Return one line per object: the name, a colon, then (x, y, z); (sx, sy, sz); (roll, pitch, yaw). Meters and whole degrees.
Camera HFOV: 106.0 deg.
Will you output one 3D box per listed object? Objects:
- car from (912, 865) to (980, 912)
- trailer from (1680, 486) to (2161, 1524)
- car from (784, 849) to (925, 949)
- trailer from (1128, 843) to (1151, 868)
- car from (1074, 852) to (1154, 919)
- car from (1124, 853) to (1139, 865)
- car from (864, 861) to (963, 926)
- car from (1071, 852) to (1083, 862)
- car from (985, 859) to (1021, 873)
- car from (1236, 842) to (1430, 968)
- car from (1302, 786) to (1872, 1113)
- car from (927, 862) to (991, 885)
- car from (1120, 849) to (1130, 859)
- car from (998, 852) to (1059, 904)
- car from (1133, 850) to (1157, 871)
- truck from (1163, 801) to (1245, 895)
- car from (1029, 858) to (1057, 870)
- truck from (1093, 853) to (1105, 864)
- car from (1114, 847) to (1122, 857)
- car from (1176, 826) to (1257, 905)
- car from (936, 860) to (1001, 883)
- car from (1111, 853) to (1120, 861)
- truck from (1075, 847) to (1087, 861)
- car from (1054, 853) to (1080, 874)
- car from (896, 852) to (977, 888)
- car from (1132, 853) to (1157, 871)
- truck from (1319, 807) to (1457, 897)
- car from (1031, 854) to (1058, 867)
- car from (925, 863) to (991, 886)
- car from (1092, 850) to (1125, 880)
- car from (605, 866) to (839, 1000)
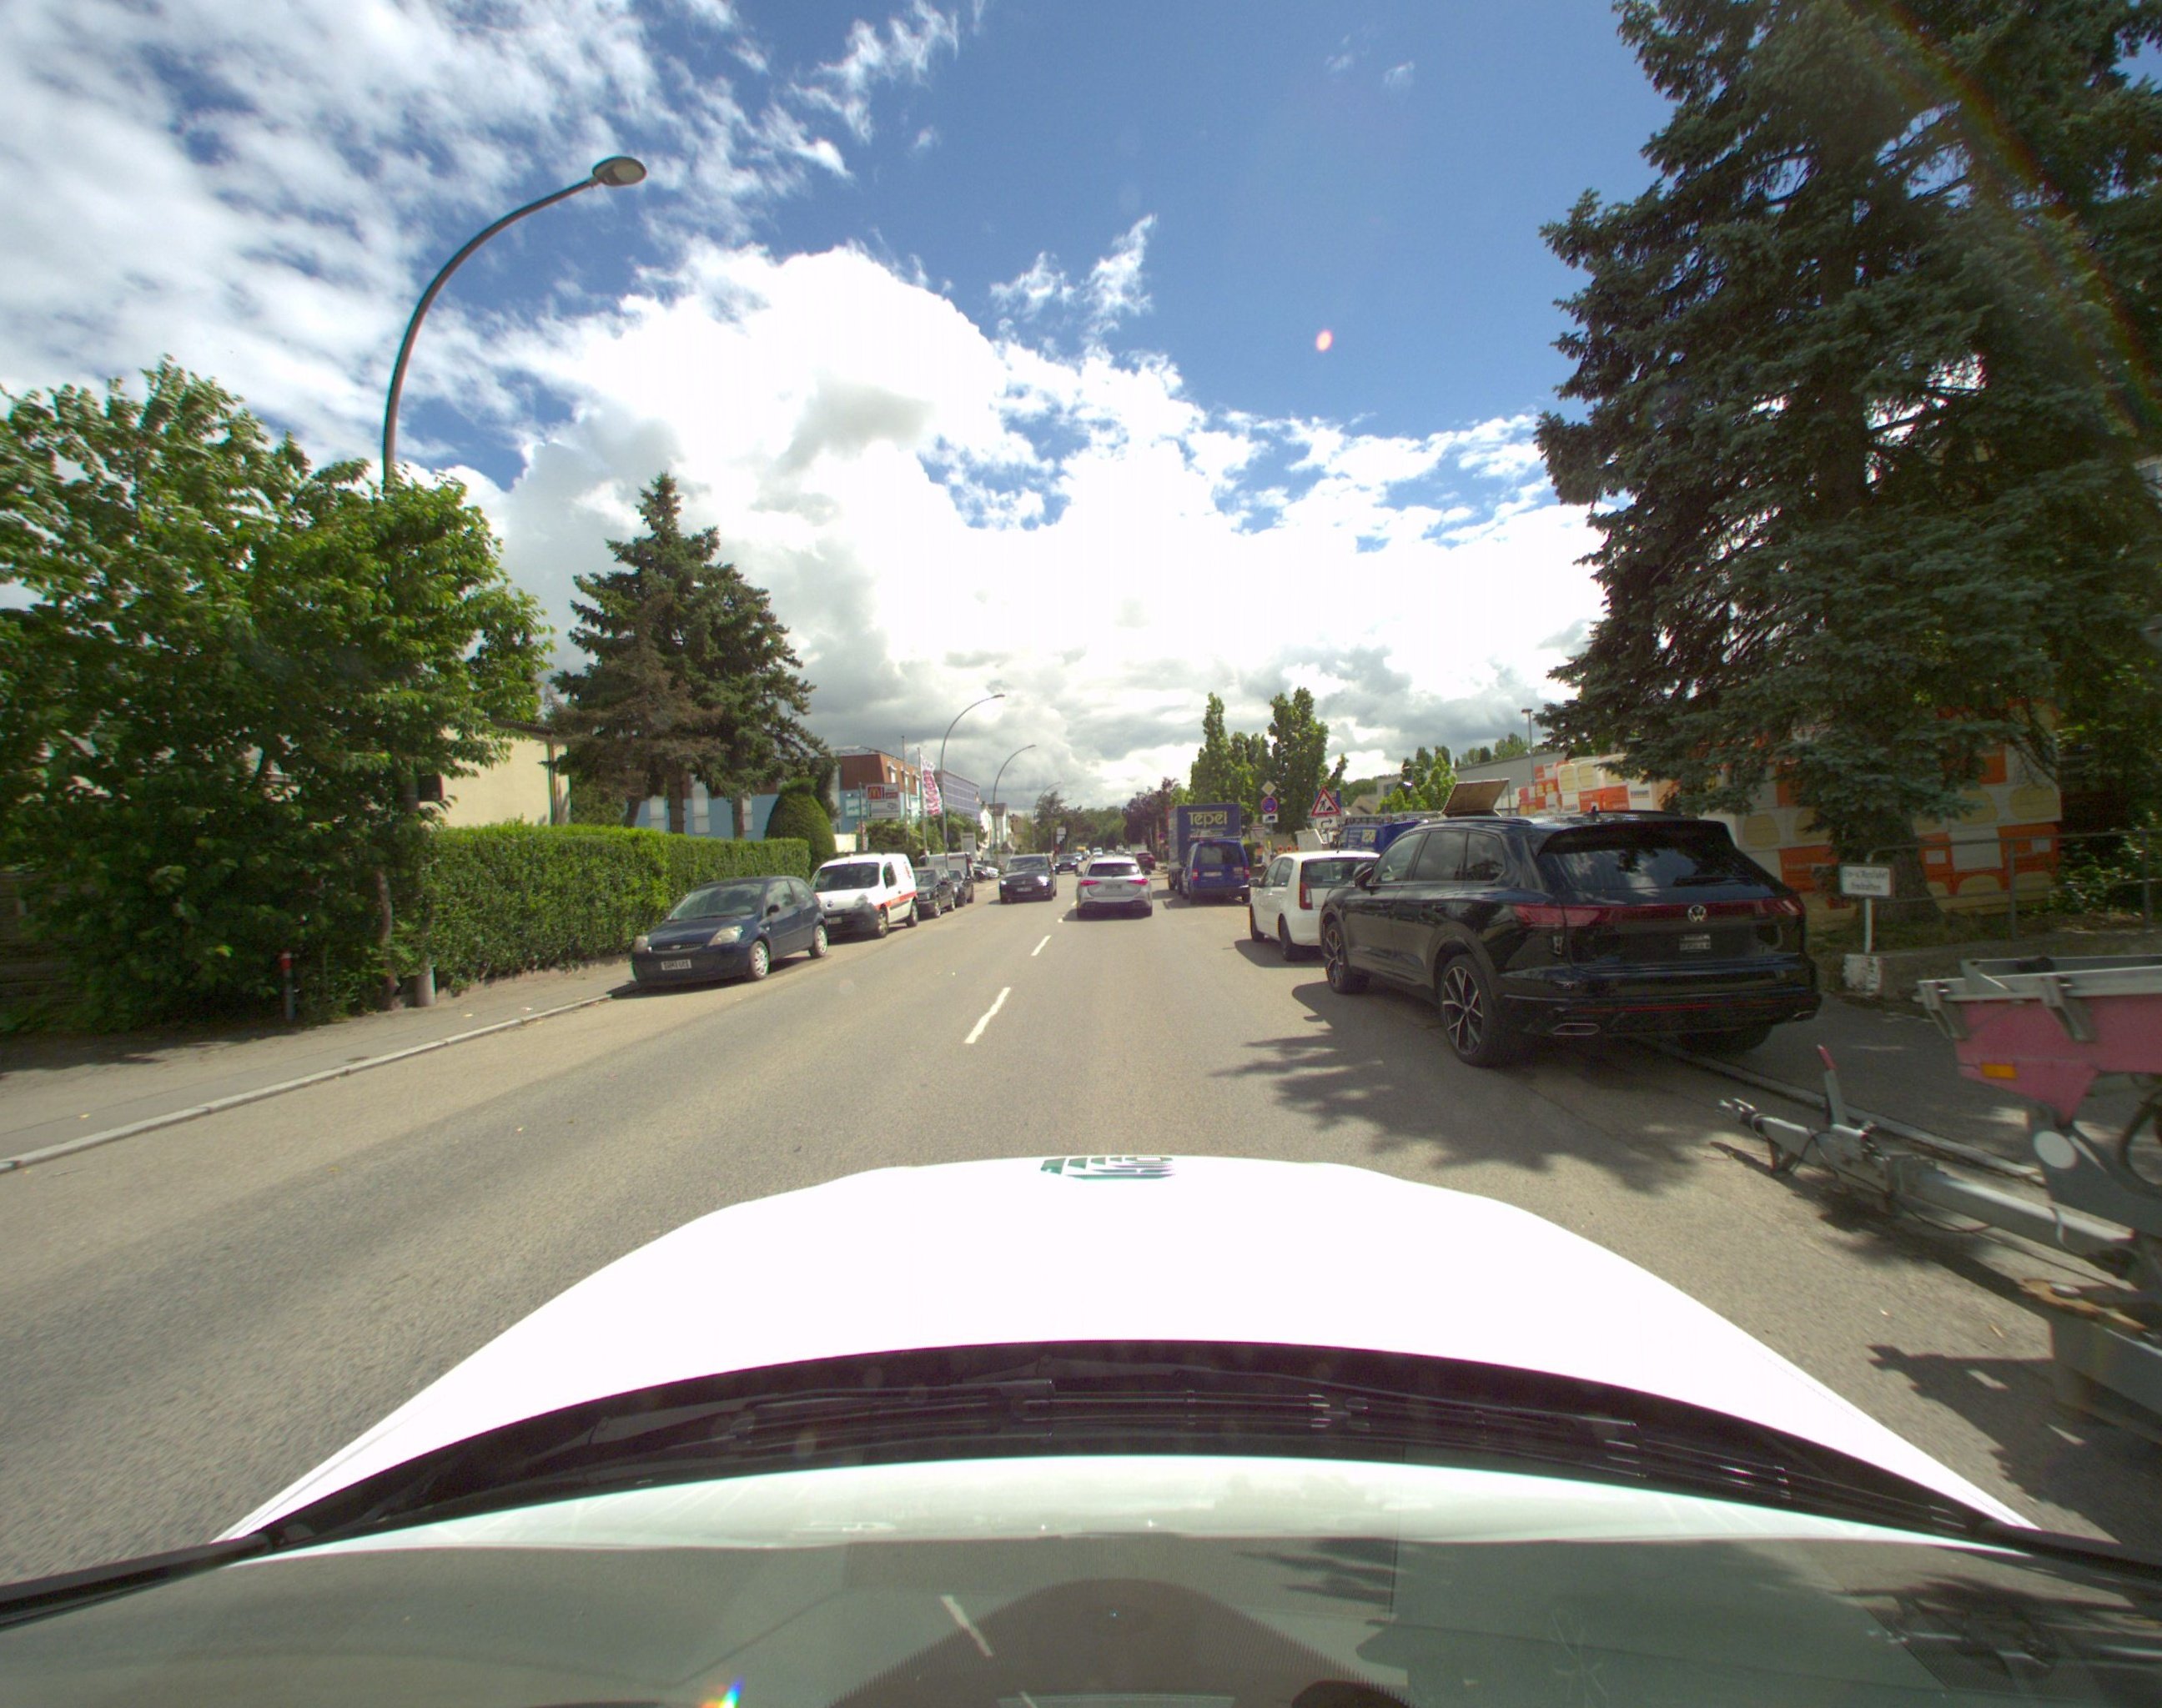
car: (-4.686, 1.157, 28.872); (1.626, 1.303, 4.116); (-6, 0, 0)
trailer: (3.076, 0.295, 0.915); (1.766, 2.144, 4.115); (-3, 0, 1)
car: (-4.926, 0.880, 18.385); (1.738, 1.838, 4.356); (-6, 0, 1)
trailer: (5.833, 0.152, 81.883); (1.935, 2.294, 4.446); (-3, 0, 1)
car: (0.768, 0.713, 20.764); (1.779, 1.484, 4.316); (-1, 0, 0)
car: (7.286, 0.700, 117.776); (1.786, 1.450, 4.362); (-4, 0, 0)
car: (-4.738, 1.047, 23.721); (1.738, 1.472, 4.644); (-6, 0, 1)
car: (-0.643, 0.442, 141.357); (1.785, 1.603, 4.365); (-4, 0, 2)
car: (-9.100, 1.401, 95.349); (4.139, 1.492, 1.825); (0, 0, -2)
car: (3.608, 0.641, 12.431); (1.766, 1.508, 4.002); (-3, 0, 2)
car: (3.486, 0.520, 6.930); (1.867, 1.727, 4.712); (-3, 0, 0)
car: (-8.405, 1.322, 56.346); (3.969, 1.355, 1.874); (-3, 0, 4)
car: (9.500, 0.036, 176.531); (2.136, 1.984, 5.264); (-3, 0, 2)
car: (-1.808, 0.782, 29.183); (1.737, 1.627, 4.357); (-2, 0, 1)
car: (5.526, 0.533, 70.540); (1.933, 1.571, 4.450); (-3, 0, 4)
truck: (4.422, -0.212, 30.245); (2.311, 3.097, 6.046); (-1, 0, 2)
car: (-6.044, 1.619, 131.005); (4.263, 1.567, 1.992); (-3, -3, 2)
truck: (4.003, 0.978, 177.929); (2.309, 2.178, 6.456); (-4, 0, 4)
car: (9.668, -0.515, 214.201); (1.779, 2.518, 4.316); (-1, -1, 0)
car: (4.011, 0.304, 24.786); (1.866, 2.169, 4.467); (-1, 0, 2)
car: (-8.114, 1.264, 58.985); (4.358, 1.478, 1.872); (-3, -1, 2)
car: (7.166, 0.680, 169.308); (1.749, 1.558, 4.001); (-2, 0, 1)
truck: (0.104, 0.008, 175.195); (2.066, 2.814, 7.084); (-4, 0, 3)
car: (-1.150, 0.773, 68.939); (1.986, 1.615, 4.412); (-4, 0, 1)
car: (-9.043, 0.999, 51.350); (4.639, 1.972, 2.114); (-3, 0, -2)
car: (5.875, 0.702, 75.860); (1.935, 1.571, 4.445); (-3, 0, 0)
truck: (8.499, -0.117, 23.158); (1.823, 2.081, 5.387); (-6, 1, 1)
car: (-6.135, 1.073, 136.205); (4.265, 1.836, 1.991); (-3, -3, 0)
car: (-8.138, 1.342, 54.134); (3.974, 1.315, 1.871); (-3, -1, 0)
car: (1.536, 0.602, 45.924); (1.749, 1.558, 4.001); (-2, 0, 1)
car: (-5.241, 1.059, 12.541); (1.634, 1.486, 4.000); (-6, 0, 1)
